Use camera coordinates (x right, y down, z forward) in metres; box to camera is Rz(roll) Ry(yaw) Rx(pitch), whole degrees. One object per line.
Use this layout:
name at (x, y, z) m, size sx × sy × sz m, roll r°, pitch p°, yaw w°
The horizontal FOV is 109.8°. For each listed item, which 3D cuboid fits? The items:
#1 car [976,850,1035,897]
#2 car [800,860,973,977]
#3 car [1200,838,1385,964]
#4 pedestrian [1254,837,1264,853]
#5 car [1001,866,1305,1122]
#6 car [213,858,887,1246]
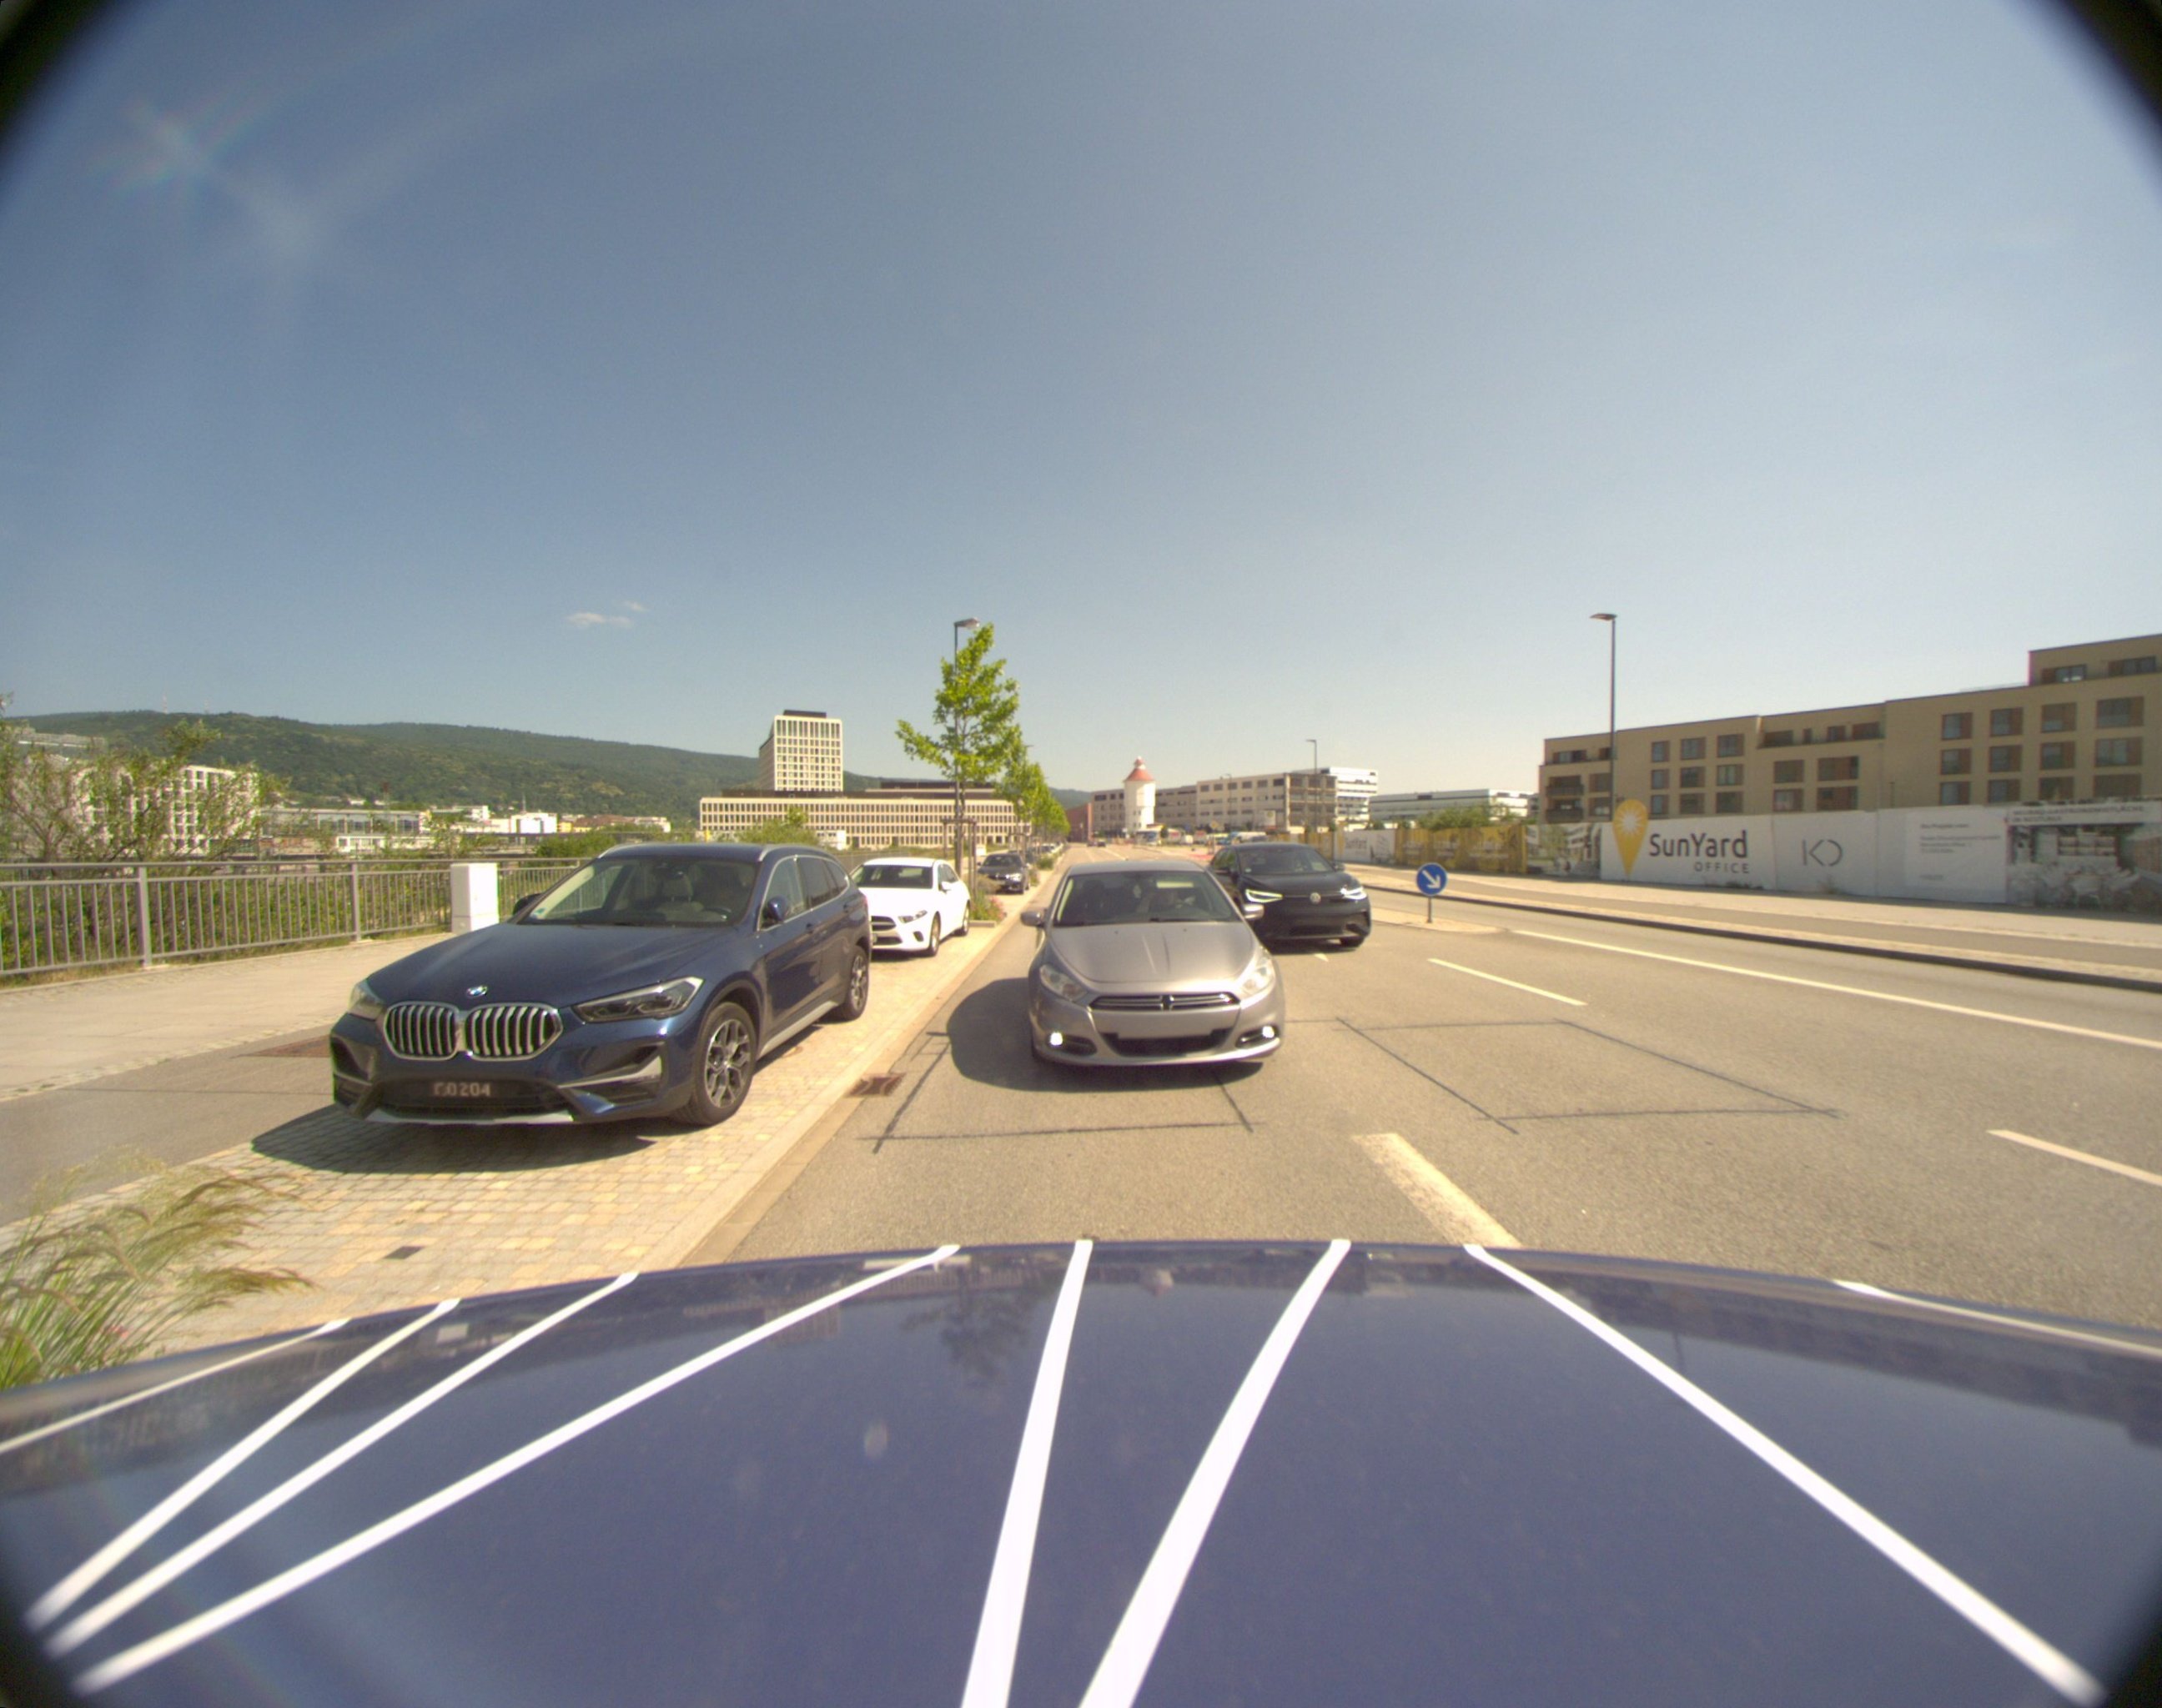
car at (-2.718, 0.644, 28.050) m, size 1.664 × 1.529 × 3.999 m, roll -2°, pitch 1°, yaw 1°
car at (-2.922, 0.889, 12.294) m, size 1.664 × 1.447 × 3.999 m, roll -2°, pitch 1°, yaw 1°
car at (3.182, 0.605, 12.402) m, size 1.806 × 1.632 × 4.365 m, roll -2°, pitch 1°, yaw 1°
pedestrian at (18.213, -0.941, 77.789) m, size 0.705 × 1.577 × 0.617 m, roll -3°, pitch 1°, yaw -36°
car at (0.462, 0.883, 6.654) m, size 1.784 × 1.372 × 4.135 m, roll -2°, pitch 1°, yaw 1°
car at (-2.887, 0.894, 5.481) m, size 1.769 × 1.598 × 4.238 m, roll -2°, pitch 1°, yaw 1°
